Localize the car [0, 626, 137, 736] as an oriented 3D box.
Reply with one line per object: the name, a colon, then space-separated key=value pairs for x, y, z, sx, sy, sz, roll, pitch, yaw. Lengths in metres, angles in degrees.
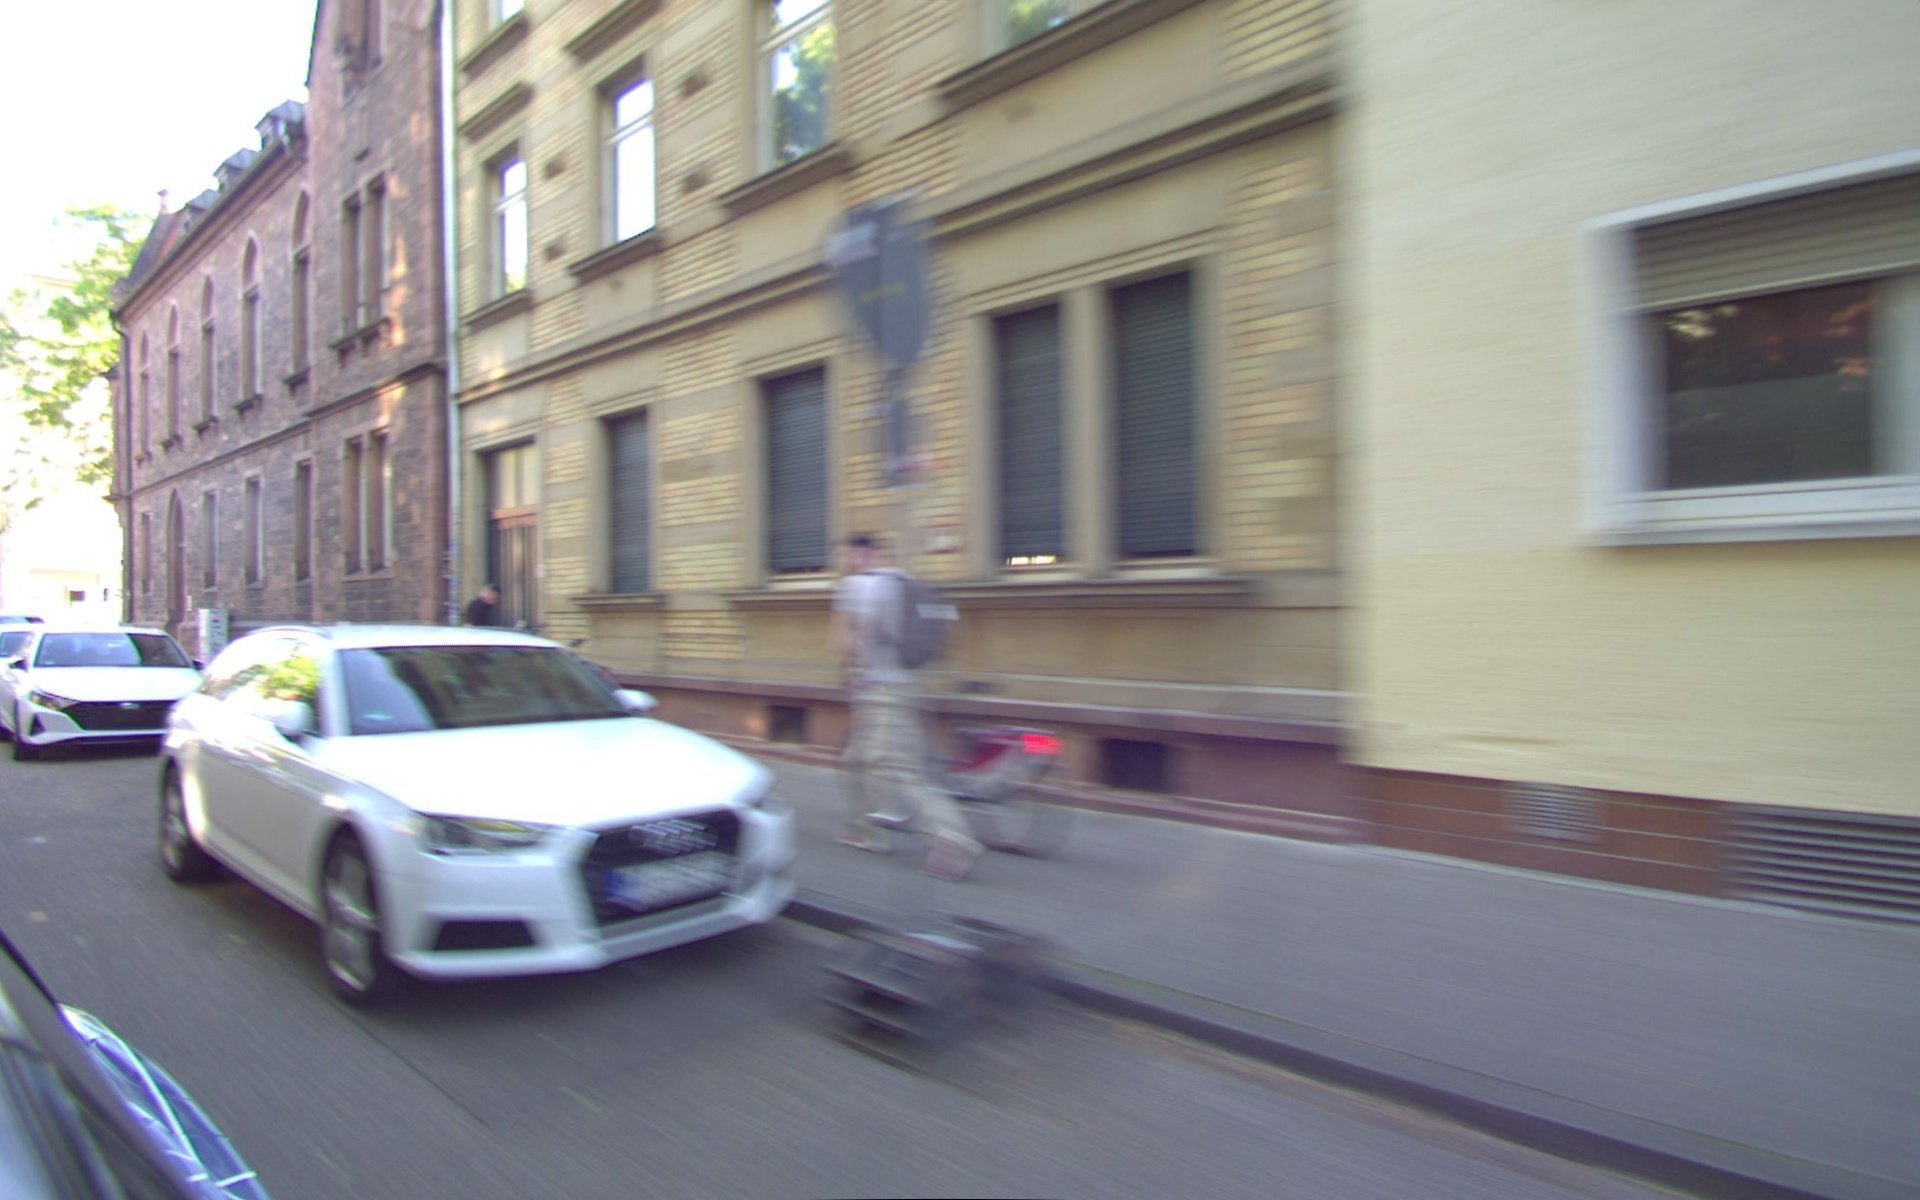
car: x=-13.831 y=1.128 z=15.207 sx=3.802 sy=1.428 sz=1.690 roll=0 pitch=-2 yaw=42

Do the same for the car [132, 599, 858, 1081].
car: x=-2.706 y=0.796 z=5.252 sx=4.519 sy=1.467 sz=1.712 roll=-1 pitch=-3 yaw=41

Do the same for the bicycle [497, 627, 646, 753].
bicycle: x=-4.014 y=0.870 z=10.379 sx=1.843 sy=1.156 sz=0.564 roll=-1 pitch=2 yaw=41

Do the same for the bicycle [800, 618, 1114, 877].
bicycle: x=-0.076 y=0.754 z=5.843 sx=1.843 sy=1.253 sz=0.564 roll=-1 pitch=2 yaw=41

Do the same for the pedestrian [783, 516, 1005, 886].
pedestrian: x=-0.374 y=0.496 z=5.499 sx=1.114 sy=1.816 sz=0.483 roll=-1 pitch=1 yaw=40

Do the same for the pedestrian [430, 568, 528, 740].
pedestrian: x=-5.675 y=0.611 z=11.946 sx=0.762 sy=1.943 sz=0.759 roll=-1 pitch=-1 yaw=37

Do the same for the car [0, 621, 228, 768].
car: x=-10.220 y=1.001 z=12.018 sx=3.802 sy=1.428 sz=1.690 roll=0 pitch=-2 yaw=42

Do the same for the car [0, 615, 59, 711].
car: x=-18.446 y=1.115 z=19.073 sx=4.277 sy=1.687 sz=1.690 roll=0 pitch=-2 yaw=42
